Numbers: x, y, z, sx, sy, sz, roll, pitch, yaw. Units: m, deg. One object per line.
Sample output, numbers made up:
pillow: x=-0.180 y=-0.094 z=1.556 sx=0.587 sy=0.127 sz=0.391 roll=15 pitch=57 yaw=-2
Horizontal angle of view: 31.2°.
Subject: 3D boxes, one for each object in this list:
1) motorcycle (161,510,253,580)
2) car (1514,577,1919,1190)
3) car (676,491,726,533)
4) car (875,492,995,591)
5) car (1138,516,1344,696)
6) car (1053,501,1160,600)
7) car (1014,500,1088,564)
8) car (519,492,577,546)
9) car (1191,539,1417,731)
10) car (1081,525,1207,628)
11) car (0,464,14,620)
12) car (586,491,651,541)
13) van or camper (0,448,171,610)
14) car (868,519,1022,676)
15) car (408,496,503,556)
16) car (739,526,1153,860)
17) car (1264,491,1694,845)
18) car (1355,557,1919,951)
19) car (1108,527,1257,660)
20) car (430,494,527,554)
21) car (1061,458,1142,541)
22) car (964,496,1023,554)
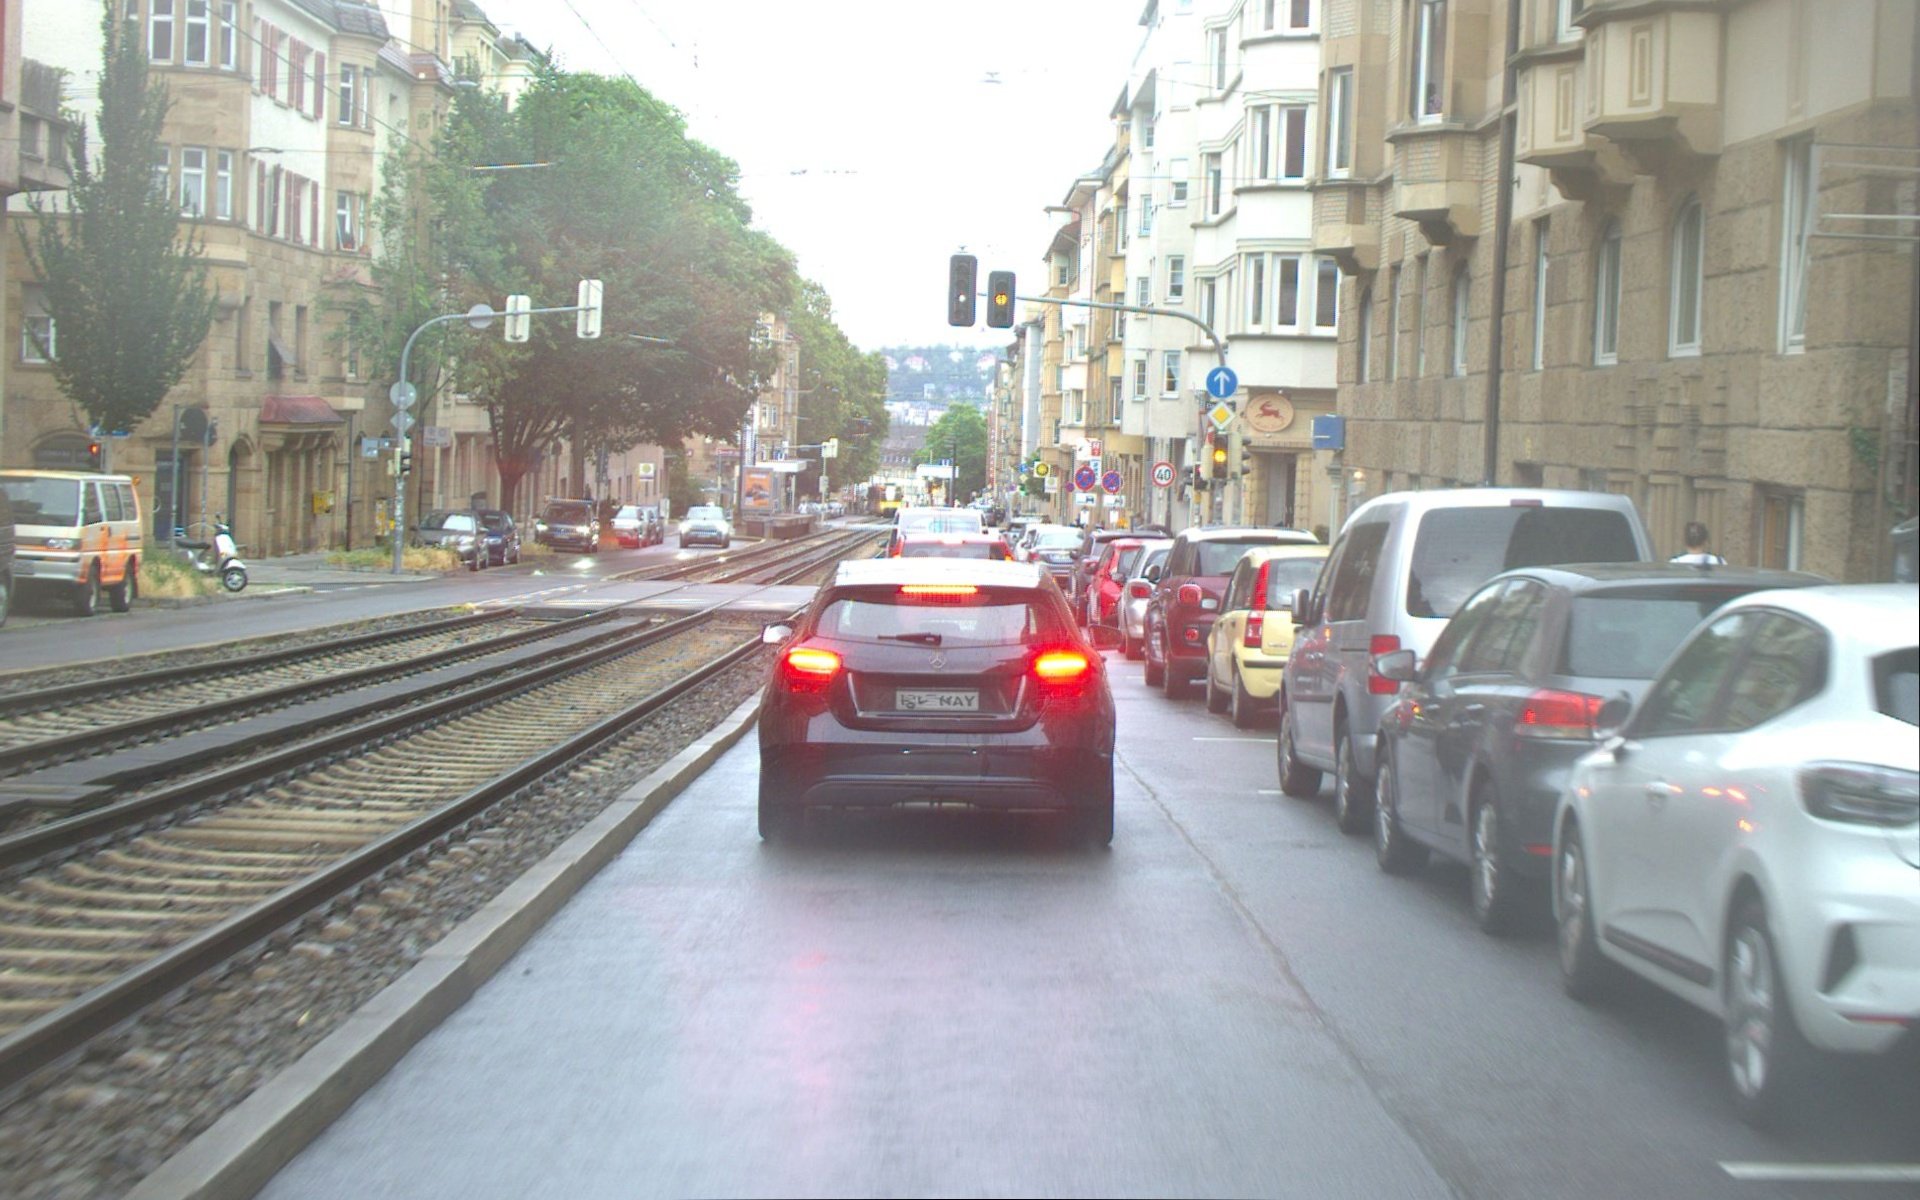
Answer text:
motorcycle: x=-12.781 y=-0.933 z=58.333 sx=1.439 sy=1.130 sz=0.619 roll=3 pitch=1 yaw=30
car: x=2.881 y=0.699 z=10.402 sx=1.676 sy=1.406 sz=4.000 roll=2 pitch=2 yaw=-1
car: x=-9.823 y=-3.342 z=130.497 sx=1.795 sy=1.543 sz=4.001 roll=1 pitch=1 yaw=-4
car: x=-0.477 y=-1.069 z=61.094 sx=1.921 sy=1.649 sz=4.001 roll=2 pitch=2 yaw=-3
car: x=2.743 y=0.005 z=34.283 sx=1.710 sy=1.623 sz=4.000 roll=2 pitch=1 yaw=1
car: x=2.367 y=-0.830 z=56.286 sx=1.549 sy=1.503 sz=4.000 roll=2 pitch=1 yaw=0
car: x=2.611 y=-1.950 z=99.595 sx=1.768 sy=1.769 sz=4.001 roll=1 pitch=0 yaw=-4
car: x=-13.512 y=-2.677 z=112.831 sx=1.789 sy=1.685 sz=4.001 roll=2 pitch=1 yaw=-6
car: x=2.927 y=0.257 z=29.806 sx=1.559 sy=1.473 sz=3.461 roll=2 pitch=1 yaw=0
car: x=2.710 y=-0.377 z=51.196 sx=1.602 sy=1.414 sz=3.149 roll=2 pitch=2 yaw=-1
car: x=-12.620 y=-0.677 z=40.148 sx=1.993 sy=1.895 sz=4.699 roll=0 pitch=1 yaw=-2
car: x=-12.904 y=-3.181 z=130.094 sx=1.993 sy=1.787 sz=4.000 roll=2 pitch=1 yaw=0
van or camper: x=-12.602 y=-0.955 z=47.842 sx=1.994 sy=1.894 sz=4.699 roll=-10 pitch=2 yaw=-2
car: x=-0.147 y=-0.073 z=37.453 sx=1.536 sy=1.505 sz=4.000 roll=2 pitch=2 yaw=0
car: x=-12.681 y=-1.853 z=86.583 sx=1.771 sy=1.459 sz=4.000 roll=1 pitch=1 yaw=0
car: x=-0.103 y=0.418 z=18.189 sx=1.946 sy=1.559 sz=3.643 roll=1 pitch=1 yaw=-1
car: x=2.832 y=0.286 z=19.667 sx=1.774 sy=1.770 sz=4.361 roll=1 pitch=2 yaw=0
car: x=2.987 y=0.558 z=14.925 sx=1.993 sy=1.436 sz=4.000 roll=1 pitch=1 yaw=-1
car: x=2.808 y=-0.120 z=44.025 sx=1.638 sy=1.537 sz=3.466 roll=3 pitch=2 yaw=0
car: x=-12.843 y=-2.036 z=91.905 sx=1.993 sy=1.512 sz=4.000 roll=2 pitch=1 yaw=0
car: x=3.595 y=-2.546 z=88.076 sx=1.898 sy=2.021 sz=4.176 roll=1 pitch=0 yaw=0
car: x=1.086 y=-2.423 z=111.363 sx=1.853 sy=1.791 sz=3.812 roll=1 pitch=0 yaw=0
